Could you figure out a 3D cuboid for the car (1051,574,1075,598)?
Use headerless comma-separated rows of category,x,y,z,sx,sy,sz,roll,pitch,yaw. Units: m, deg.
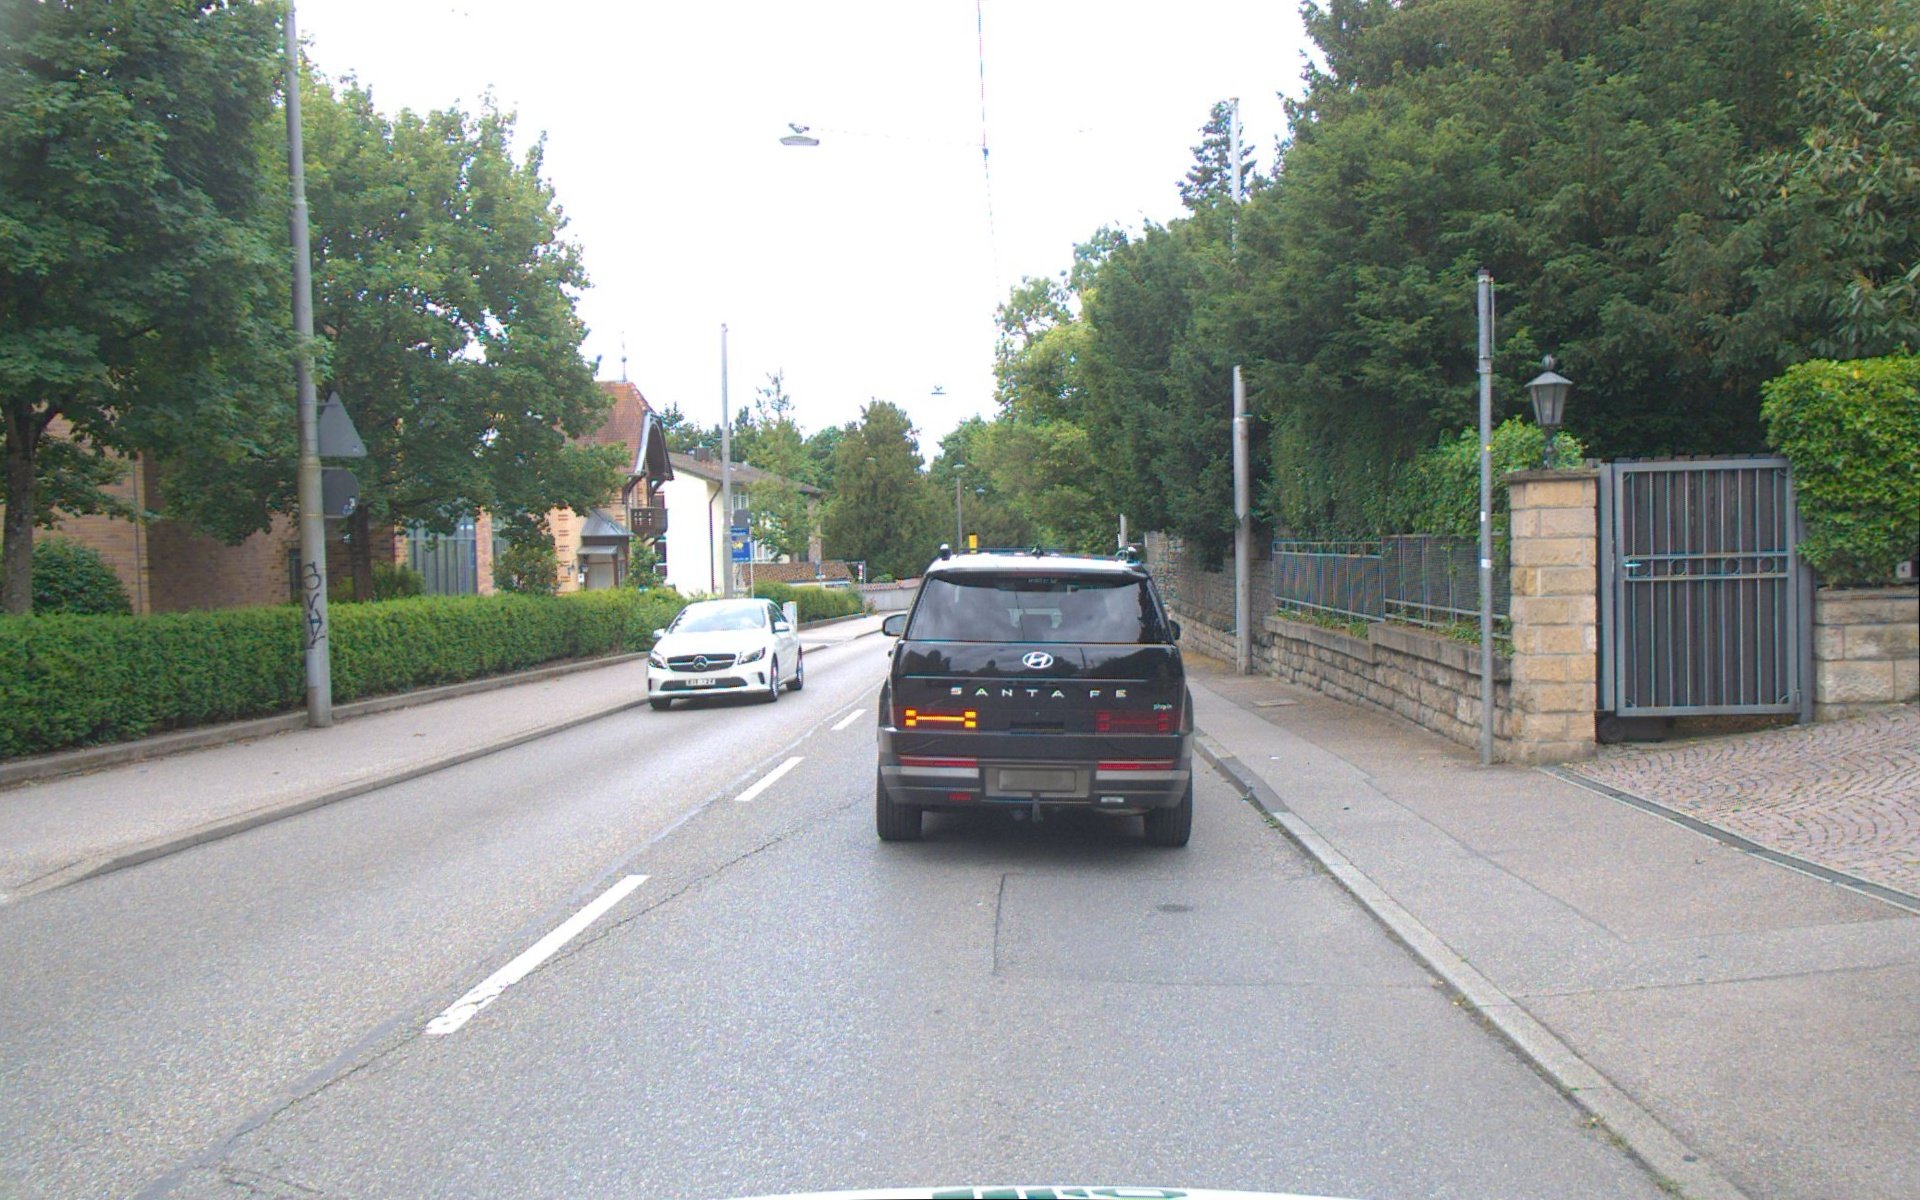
car,7.699,-1.052,123.464,1.610,1.588,3.652,-1,-2,5

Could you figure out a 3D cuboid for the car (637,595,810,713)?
car,-3.323,0.713,23.976,1.730,1.446,4.066,-3,0,2

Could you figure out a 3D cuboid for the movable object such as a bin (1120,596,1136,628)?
movable object such as a bin,5.018,0.360,49.321,0.435,0.926,0.394,-1,0,12

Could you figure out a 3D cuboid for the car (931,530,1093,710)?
car,0.646,0.162,22.390,1.917,1.988,4.226,2,4,0

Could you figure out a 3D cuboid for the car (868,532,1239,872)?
car,0.572,0.506,10.821,1.916,1.742,4.225,1,1,2
